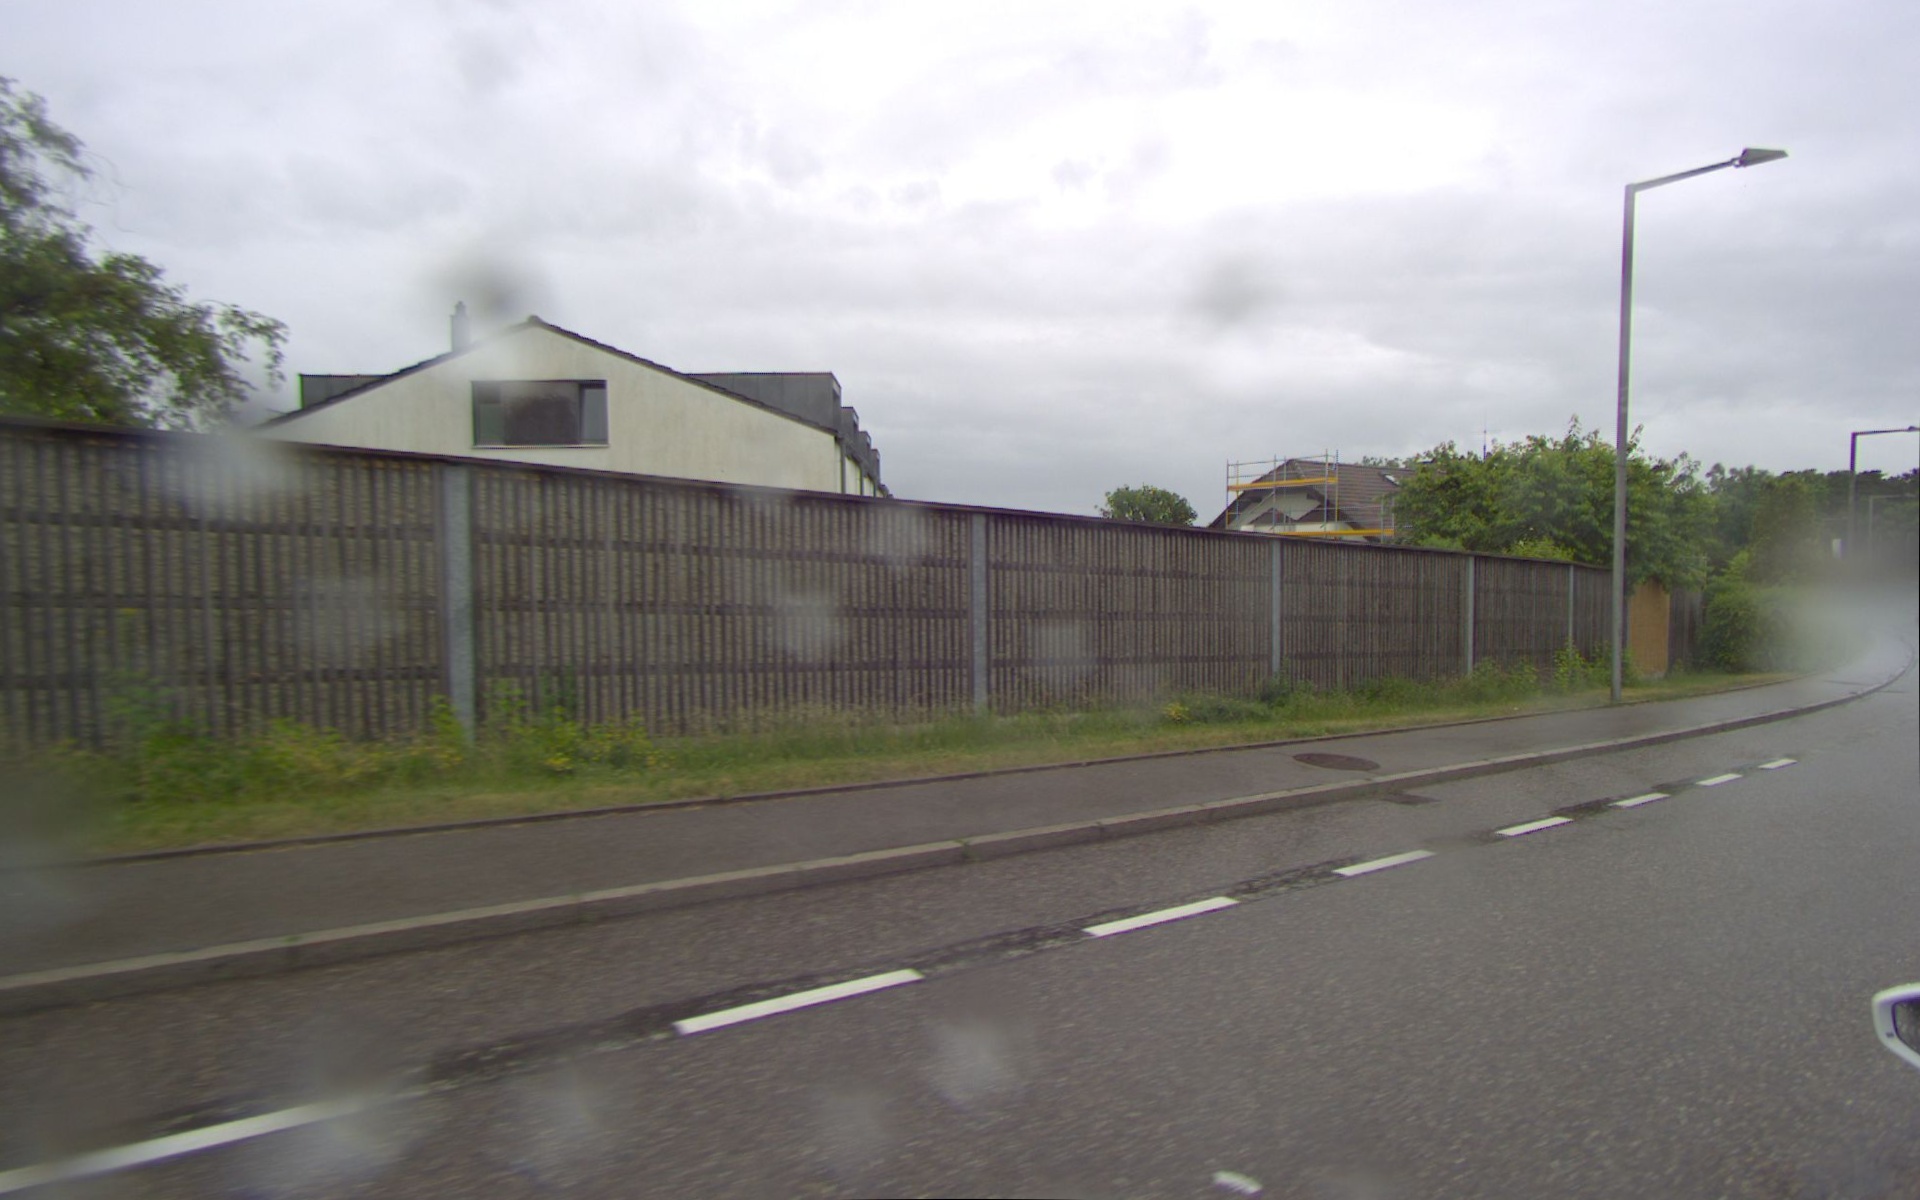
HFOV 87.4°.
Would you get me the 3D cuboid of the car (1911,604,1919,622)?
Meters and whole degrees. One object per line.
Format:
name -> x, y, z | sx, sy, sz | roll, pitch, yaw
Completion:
car -> 78.722, 1.100, 81.416 | 1.433, 1.374, 3.527 | 3, 3, 29
